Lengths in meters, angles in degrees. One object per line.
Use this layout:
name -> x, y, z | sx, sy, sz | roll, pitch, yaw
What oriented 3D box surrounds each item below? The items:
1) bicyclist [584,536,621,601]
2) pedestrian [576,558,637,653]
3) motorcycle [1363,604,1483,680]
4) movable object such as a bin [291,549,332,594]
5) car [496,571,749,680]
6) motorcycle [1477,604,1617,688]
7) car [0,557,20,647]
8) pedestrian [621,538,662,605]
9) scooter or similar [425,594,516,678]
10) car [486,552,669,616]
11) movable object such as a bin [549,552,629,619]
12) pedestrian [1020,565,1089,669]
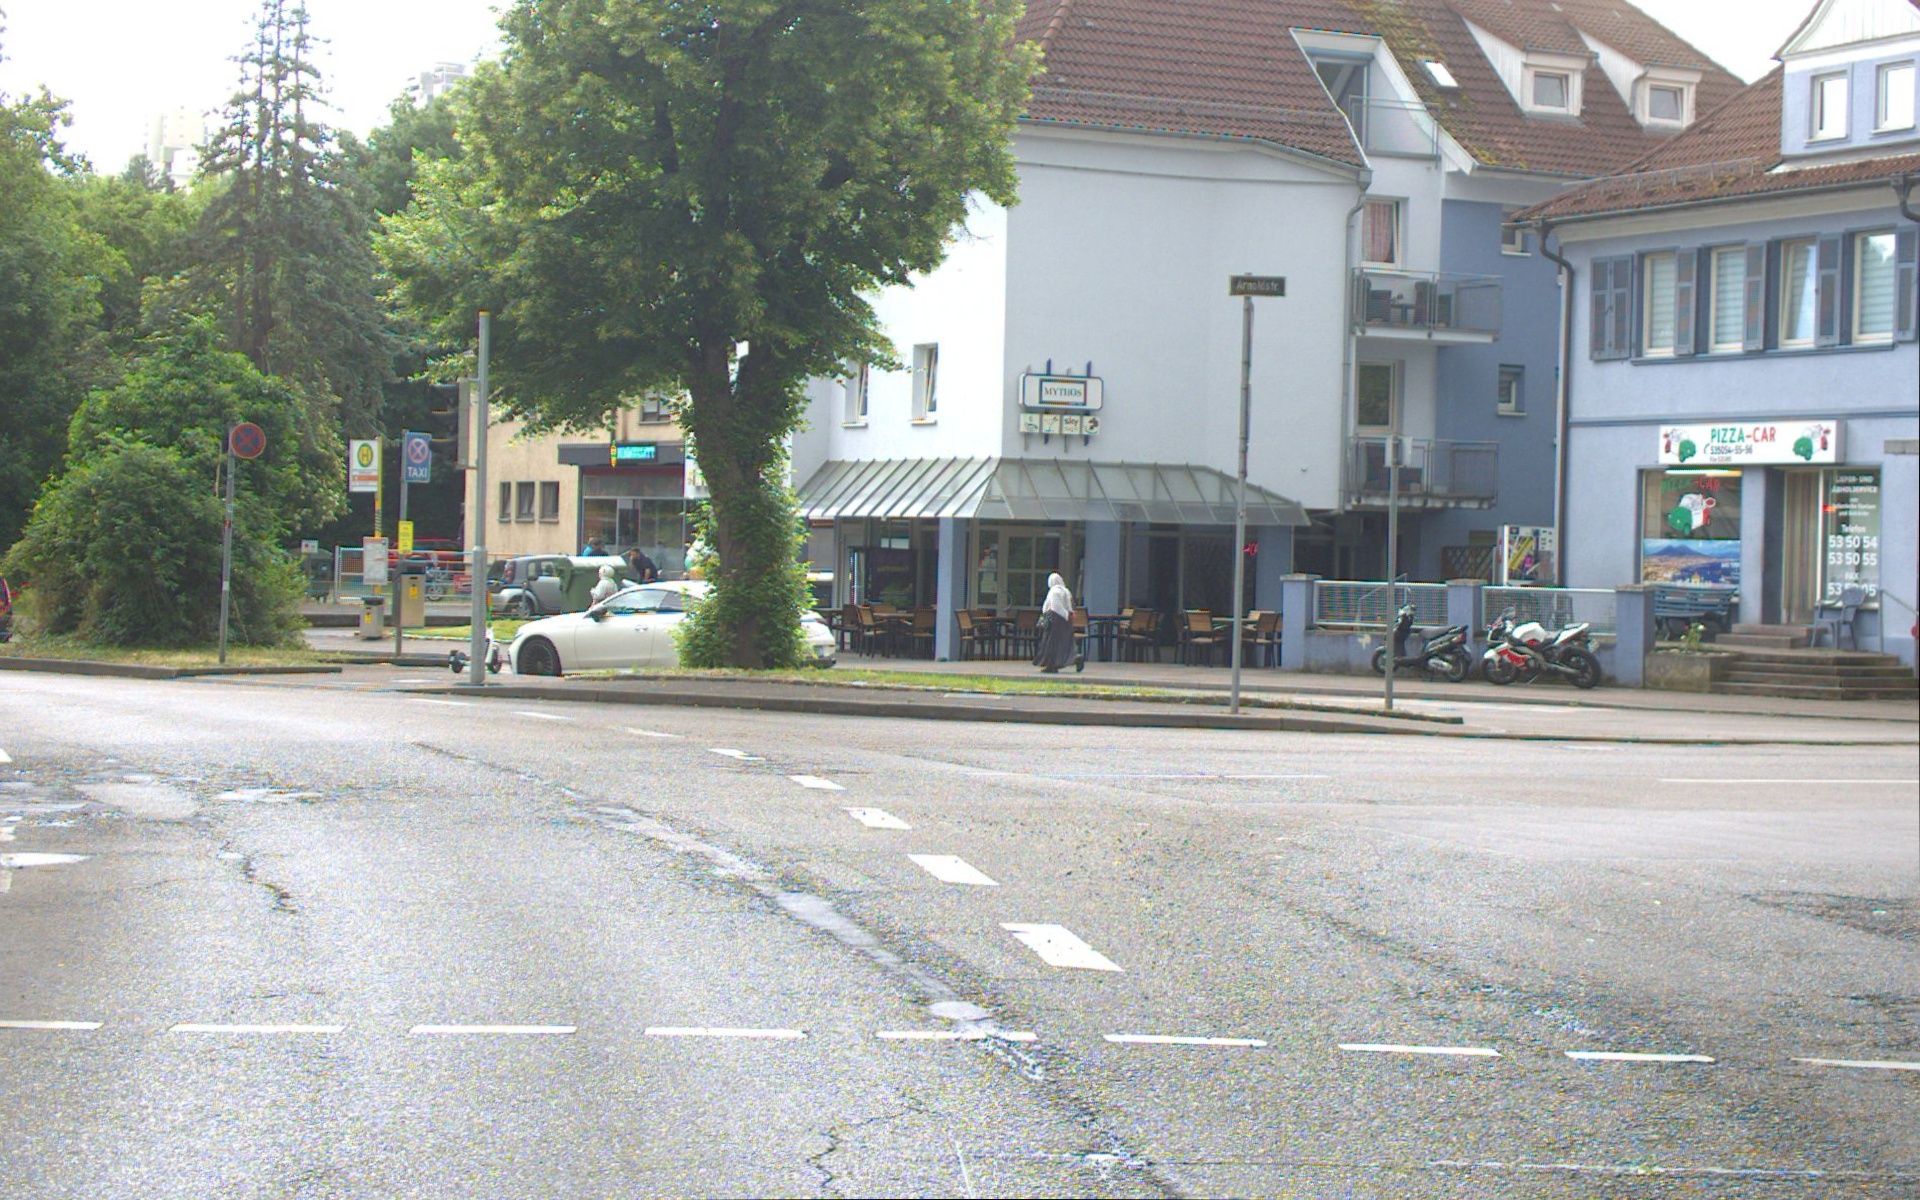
bicyclist -> -8.540, -0.750, 82.067 | 0.737, 1.536, 0.600 | 1, 1, -19
pedestrian -> -5.826, 0.082, 56.685 | 0.707, 1.539, 0.677 | 2, 1, 40
motorcycle -> 6.750, 0.602, 50.157 | 1.636, 1.060, 0.693 | 2, 1, 44
movable object such as a bin -> -16.250, -0.716, 86.164 | 0.950, 1.111, 0.383 | 1, 1, -21
car -> -4.532, 0.322, 46.040 | 3.171, 1.350, 1.436 | 2, 1, 35
motorcycle -> 8.255, 0.639, 48.378 | 1.798, 1.118, 0.693 | 2, 1, 38
car -> -16.516, -0.004, 53.718 | 3.590, 1.389, 1.469 | 2, 1, 32
pedestrian -> -7.455, -0.664, 80.529 | 0.676, 1.539, 0.708 | 1, 1, -34
scooter or similar -> -6.060, 0.438, 42.647 | 0.417, 1.008, 1.565 | 1, 1, 20
car -> -8.429, -0.353, 75.869 | 3.733, 1.340, 1.434 | 1, 1, -26
movable object such as a bin -> -7.986, -0.312, 73.972 | 1.440, 1.404, 0.967 | 1, 1, -27
pedestrian -> 1.438, 0.253, 52.181 | 0.768, 1.539, 0.677 | 1, 1, 39
